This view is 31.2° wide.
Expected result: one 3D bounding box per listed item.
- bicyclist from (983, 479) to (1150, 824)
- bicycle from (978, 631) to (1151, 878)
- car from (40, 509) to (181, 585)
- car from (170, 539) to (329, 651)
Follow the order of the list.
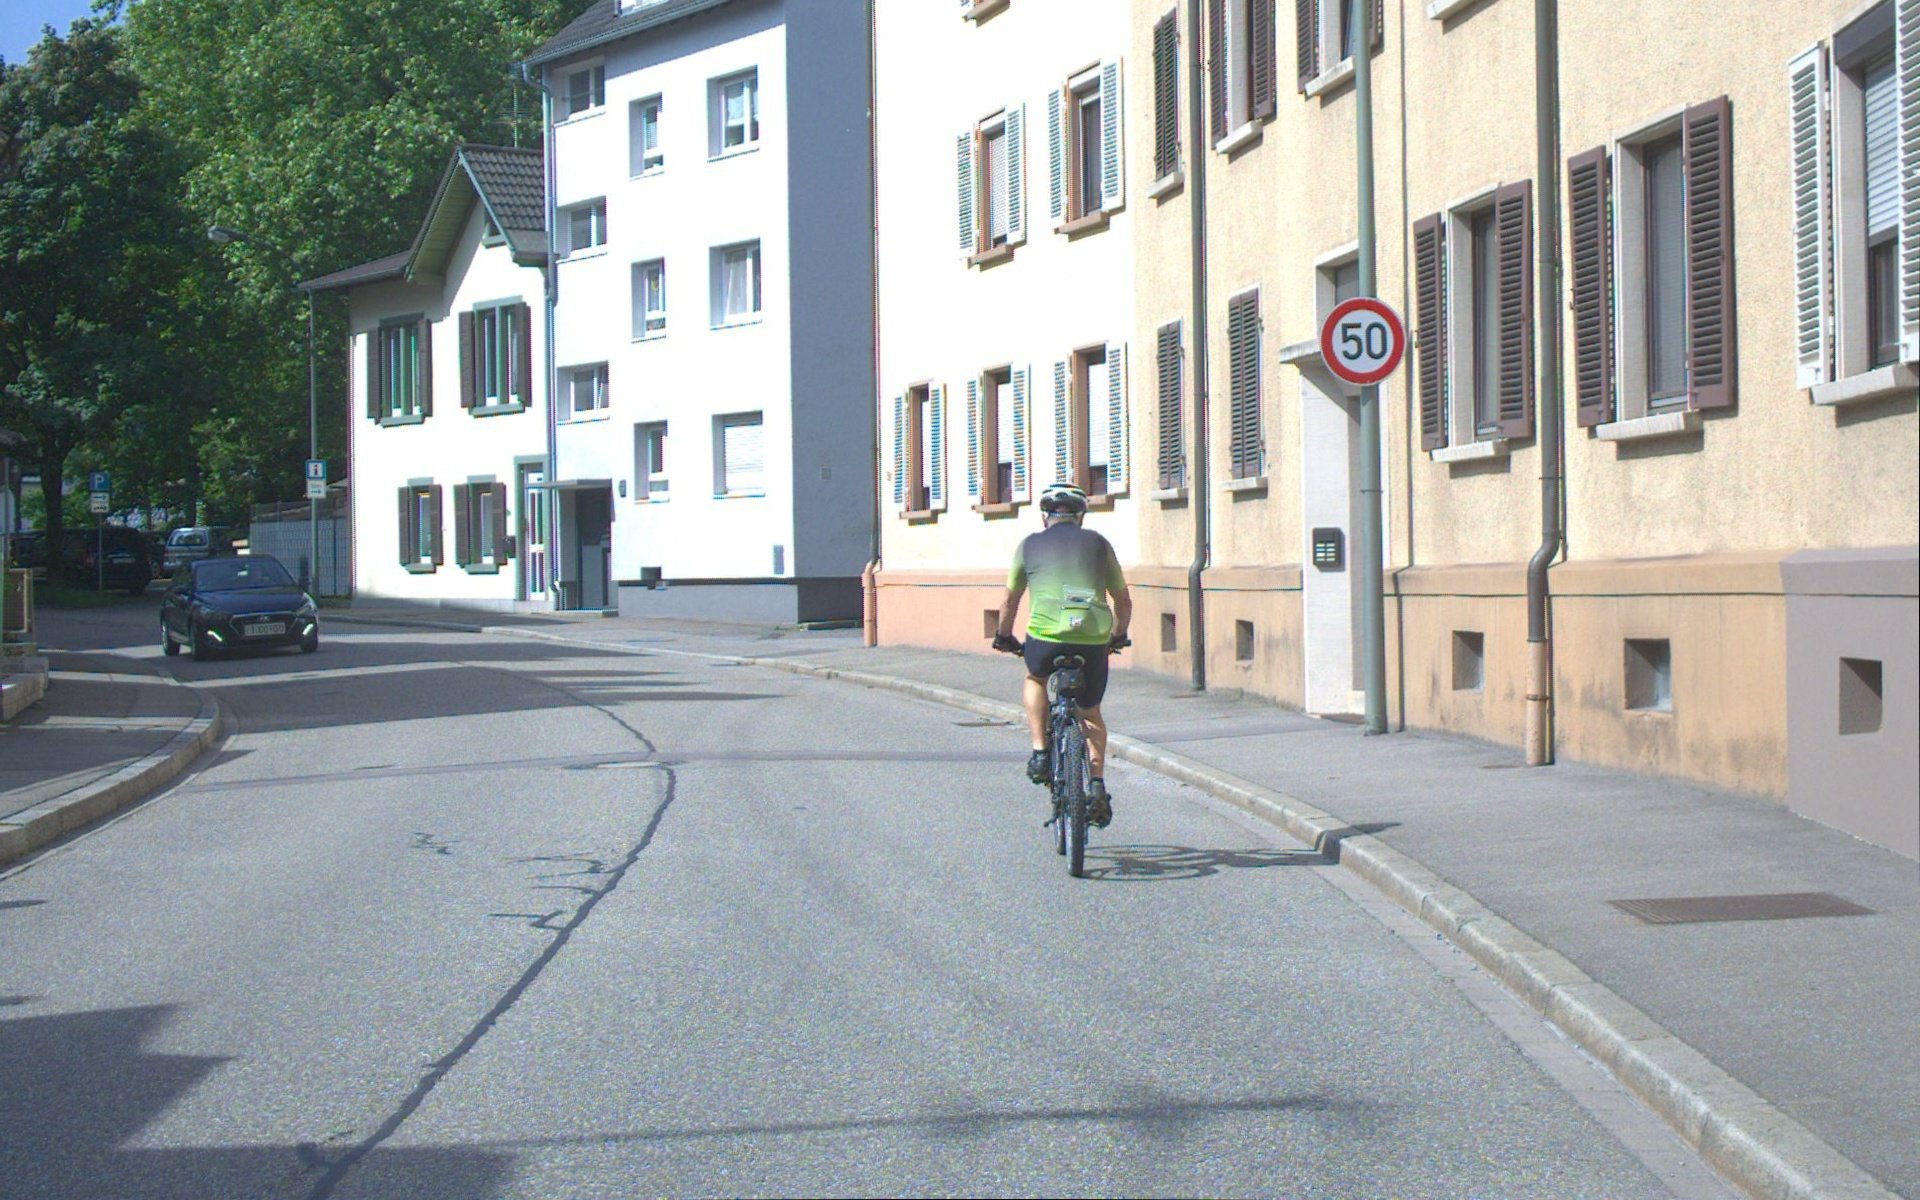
[{"bbox_3d":[0.480,0.227,15.708,0.685,1.526,0.715,-1,1,-2],"label":"bicyclist"},{"bbox_3d":[0.459,0.682,15.738,0.698,1.032,1.471,0,1,-2],"label":"bicycle"},{"bbox_3d":[-21.350,-1.359,86.347,1.823,1.785,3.999,-2,3,-40],"label":"car"},{"bbox_3d":[-10.486,-0.103,50.545,1.747,1.448,4.028,-5,2,-18],"label":"car"}]
